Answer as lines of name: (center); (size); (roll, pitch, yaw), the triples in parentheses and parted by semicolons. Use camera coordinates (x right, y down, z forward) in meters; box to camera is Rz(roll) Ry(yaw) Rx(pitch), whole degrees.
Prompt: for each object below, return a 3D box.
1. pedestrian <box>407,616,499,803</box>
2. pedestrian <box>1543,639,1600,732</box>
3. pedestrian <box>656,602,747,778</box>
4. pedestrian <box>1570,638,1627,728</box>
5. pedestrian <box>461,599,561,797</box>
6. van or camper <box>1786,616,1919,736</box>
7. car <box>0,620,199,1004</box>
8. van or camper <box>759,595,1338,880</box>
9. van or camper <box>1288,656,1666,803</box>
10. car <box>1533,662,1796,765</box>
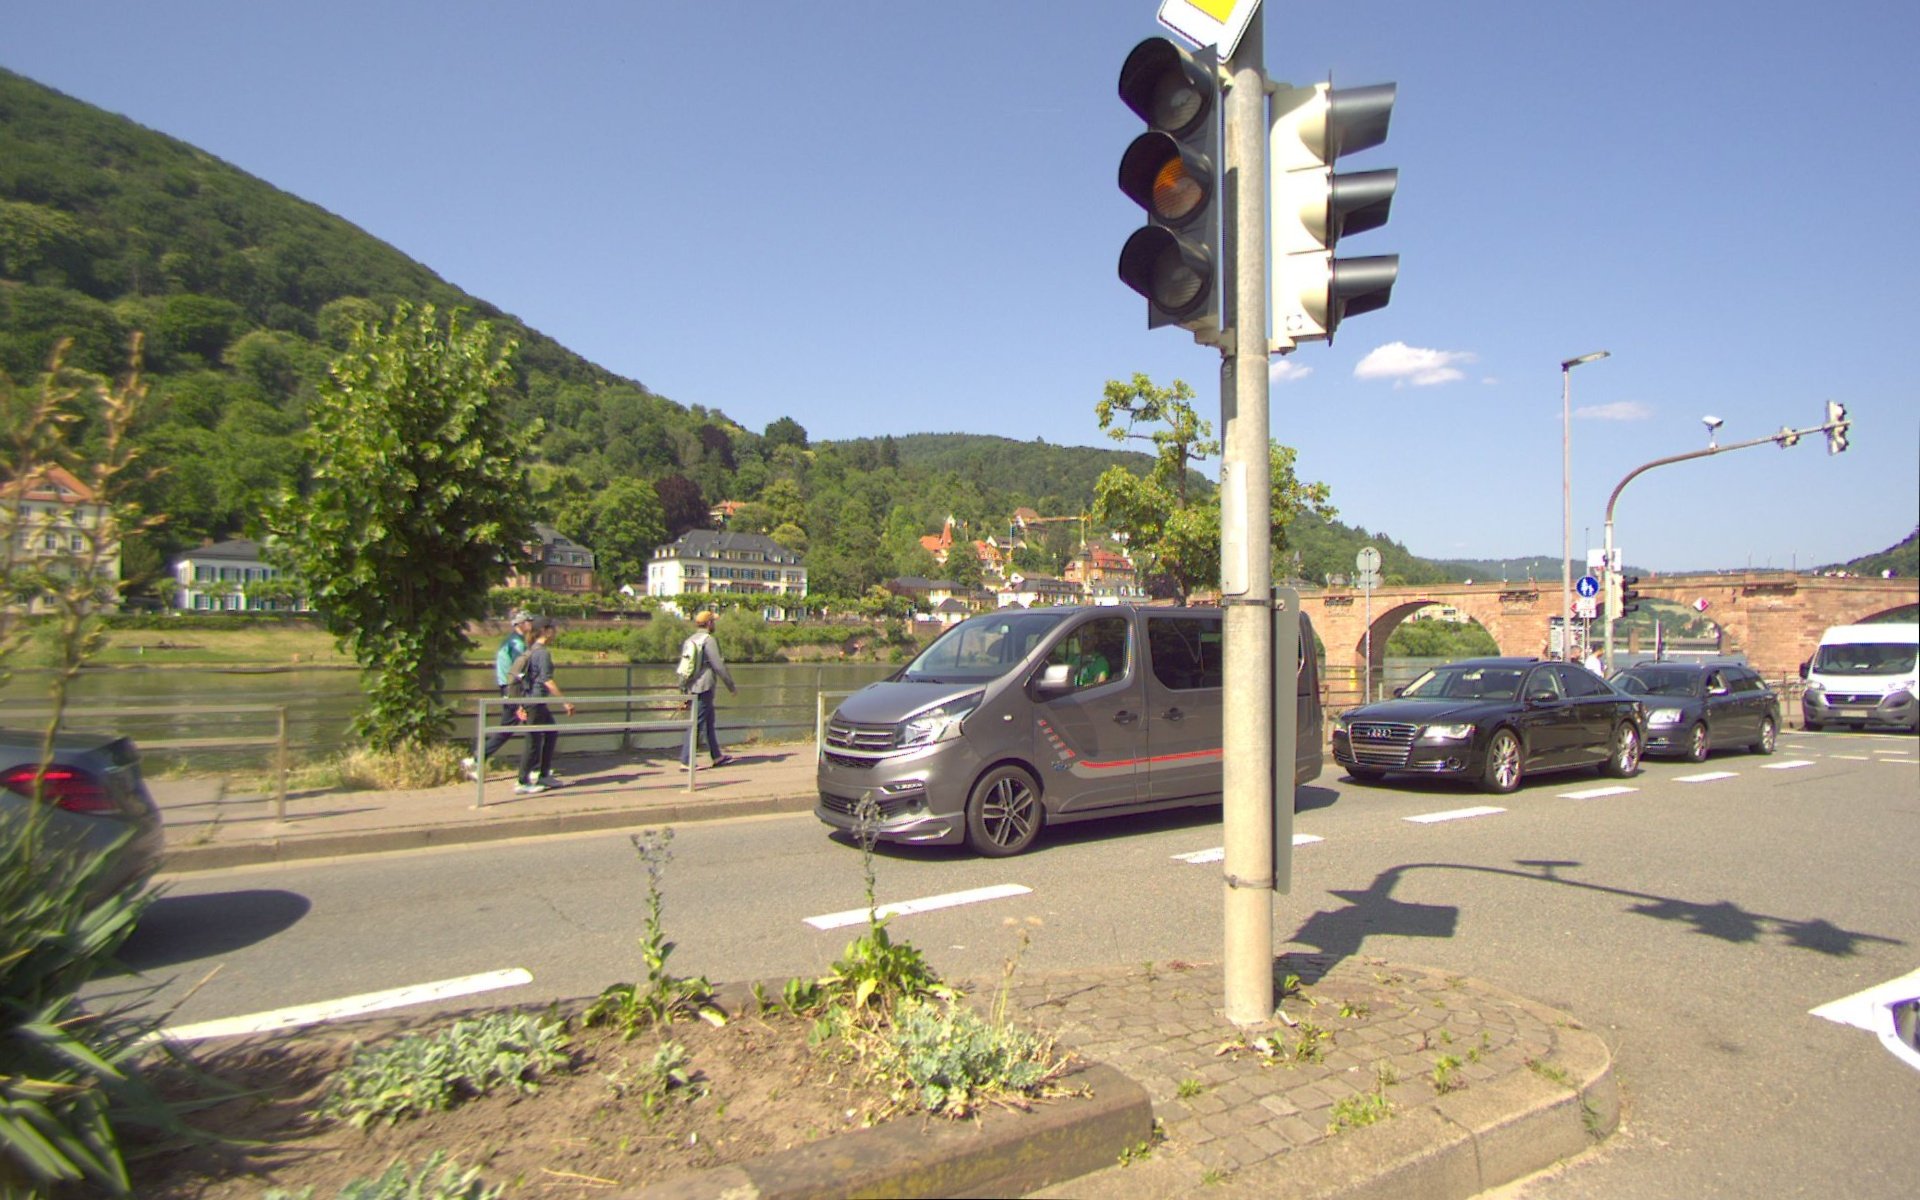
pedestrian: (-4.658, 0.973, 9.226); (0.635, 1.622, 0.536); (2, 0, -37)
pedestrian: (12.584, 1.731, 20.670); (0.758, 1.804, 0.687); (2, 3, -40)
pedestrian: (-2.914, 0.977, 11.329); (0.690, 1.882, 0.755); (2, 0, -40)
pedestrian: (13.493, 1.741, 21.229); (0.758, 1.804, 0.687); (2, 3, -40)
pedestrian: (-4.527, 0.950, 10.120); (0.690, 1.882, 0.755); (2, 0, -40)
van or camper: (21.395, 1.754, 23.225); (5.437, 2.481, 1.982); (3, -5, -34)
car: (-6.198, 0.913, 3.894); (5.110, 1.619, 1.980); (2, -6, -37)
van or camper: (0.983, 1.034, 9.020); (5.128, 1.897, 1.981); (2, -4, -35)
van or camper: (6.542, 1.472, 12.518); (5.012, 1.496, 1.982); (2, -4, -33)
car: (11.506, 1.756, 16.333); (4.522, 1.427, 1.941); (2, -5, -33)
